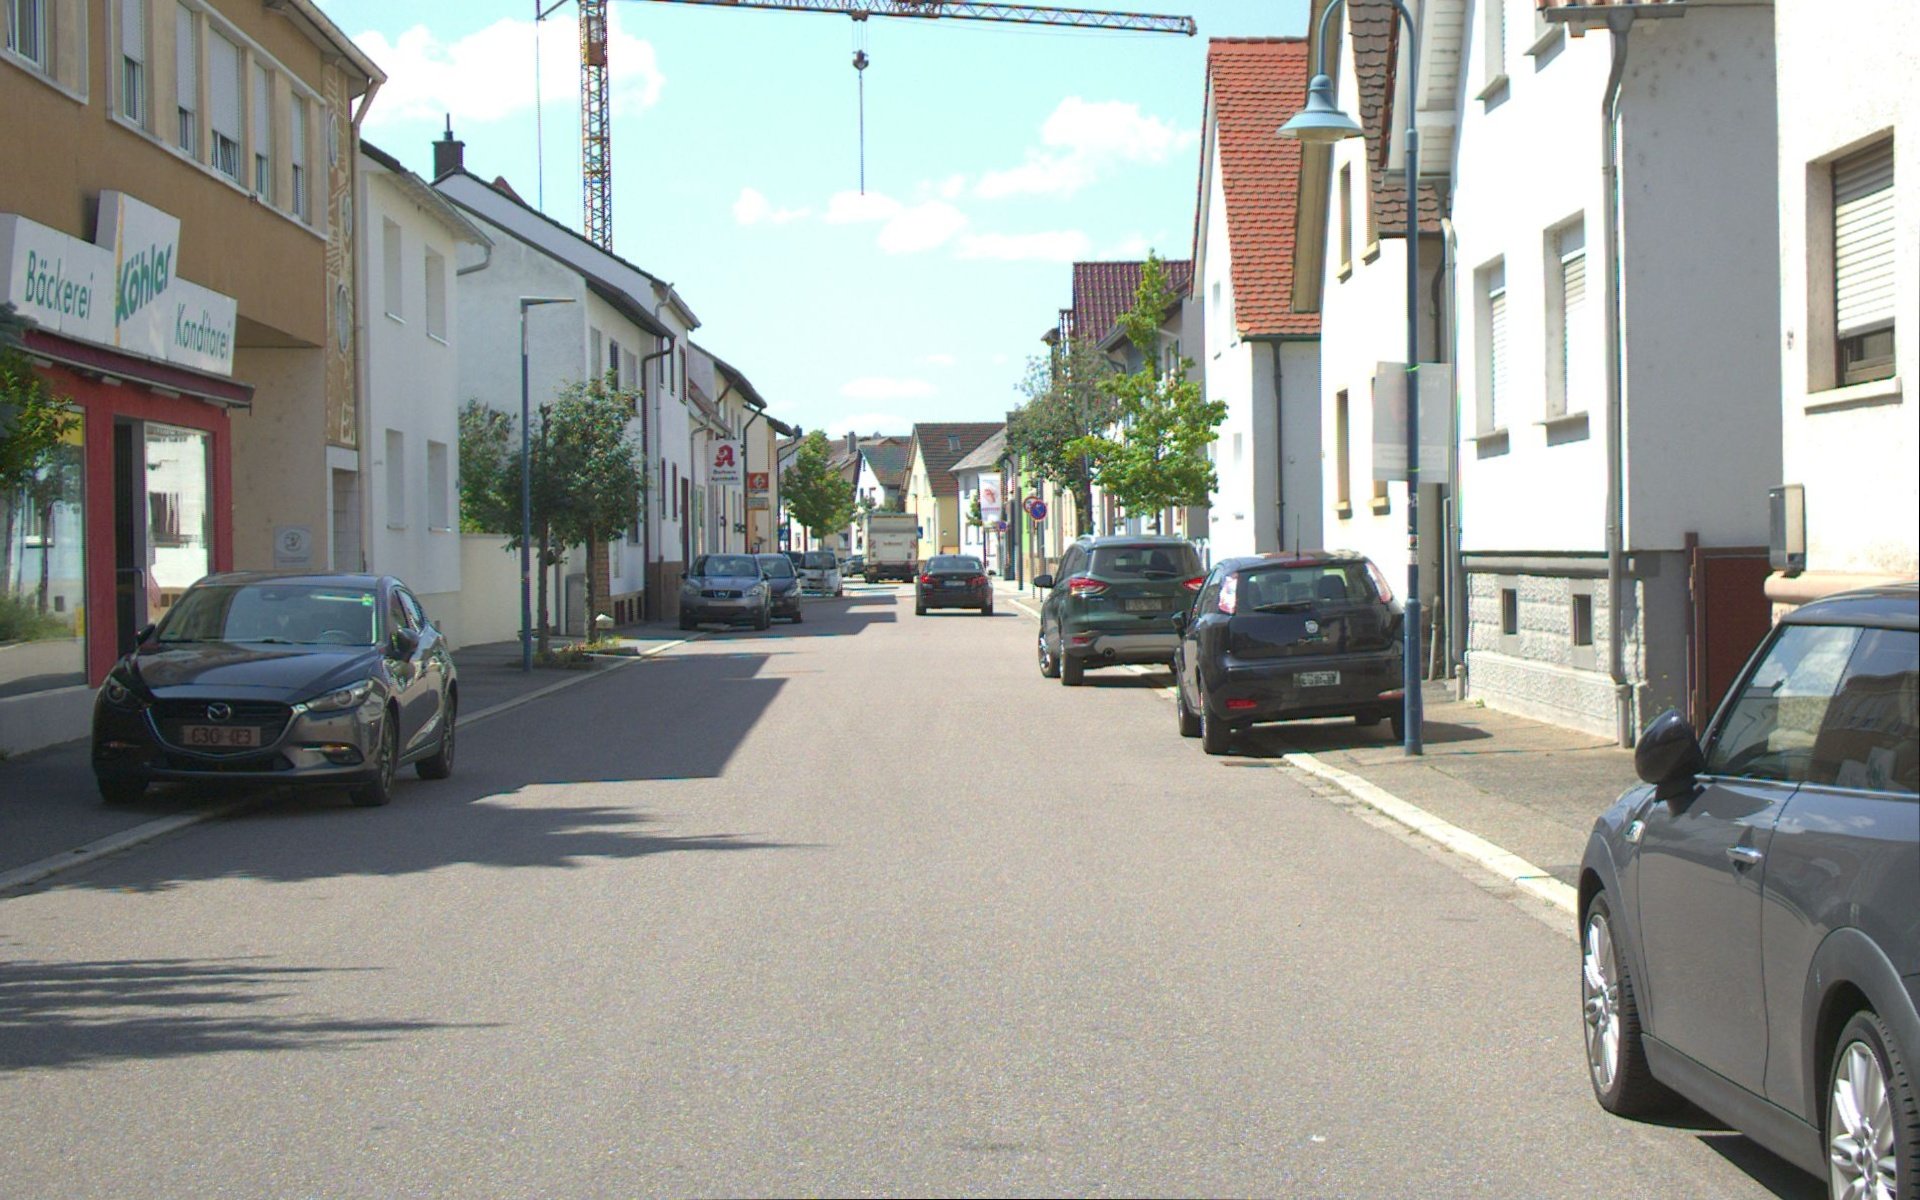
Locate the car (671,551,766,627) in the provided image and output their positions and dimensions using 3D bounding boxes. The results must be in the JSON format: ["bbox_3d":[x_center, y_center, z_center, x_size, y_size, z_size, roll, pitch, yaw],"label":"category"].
[{"bbox_3d":[-5.039,-0.257,72.091,1.758,1.519,4.289,-1,1,-1],"label":"car"}]

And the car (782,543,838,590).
[{"bbox_3d":[-5.125,-1.159,118.039,1.723,1.550,4.172,1,1,0],"label":"car"}]

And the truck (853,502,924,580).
[{"bbox_3d":[-3.818,-3.030,179.858,3.378,3.852,13.927,-2,1,-2],"label":"truck"}]

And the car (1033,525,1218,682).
[{"bbox_3d":[1.876,0.003,40.137,1.728,1.711,4.276,-1,1,-3],"label":"car"}]

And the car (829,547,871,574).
[{"bbox_3d":[-7.513,-2.676,234.481,1.820,1.747,4.230,-2,1,-16],"label":"car"}]

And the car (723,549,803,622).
[{"bbox_3d":[-4.486,-0.351,78.593,1.653,1.603,4.061,-1,1,-1],"label":"car"}]

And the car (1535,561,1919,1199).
[{"bbox_3d":[2.491,0.631,7.835,1.688,1.417,3.657,-1,1,-1],"label":"car"}]

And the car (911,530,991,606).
[{"bbox_3d":[-0.231,-0.772,83.305,1.782,1.747,4.000,-2,1,-2],"label":"car"}]

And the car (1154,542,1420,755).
[{"bbox_3d":[2.546,0.326,27.583,1.617,1.490,3.972,-3,1,-1],"label":"car"}]

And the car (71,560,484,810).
[{"bbox_3d":[-4.379,0.485,22.725,1.768,1.455,4.436,-1,1,1],"label":"car"}]
